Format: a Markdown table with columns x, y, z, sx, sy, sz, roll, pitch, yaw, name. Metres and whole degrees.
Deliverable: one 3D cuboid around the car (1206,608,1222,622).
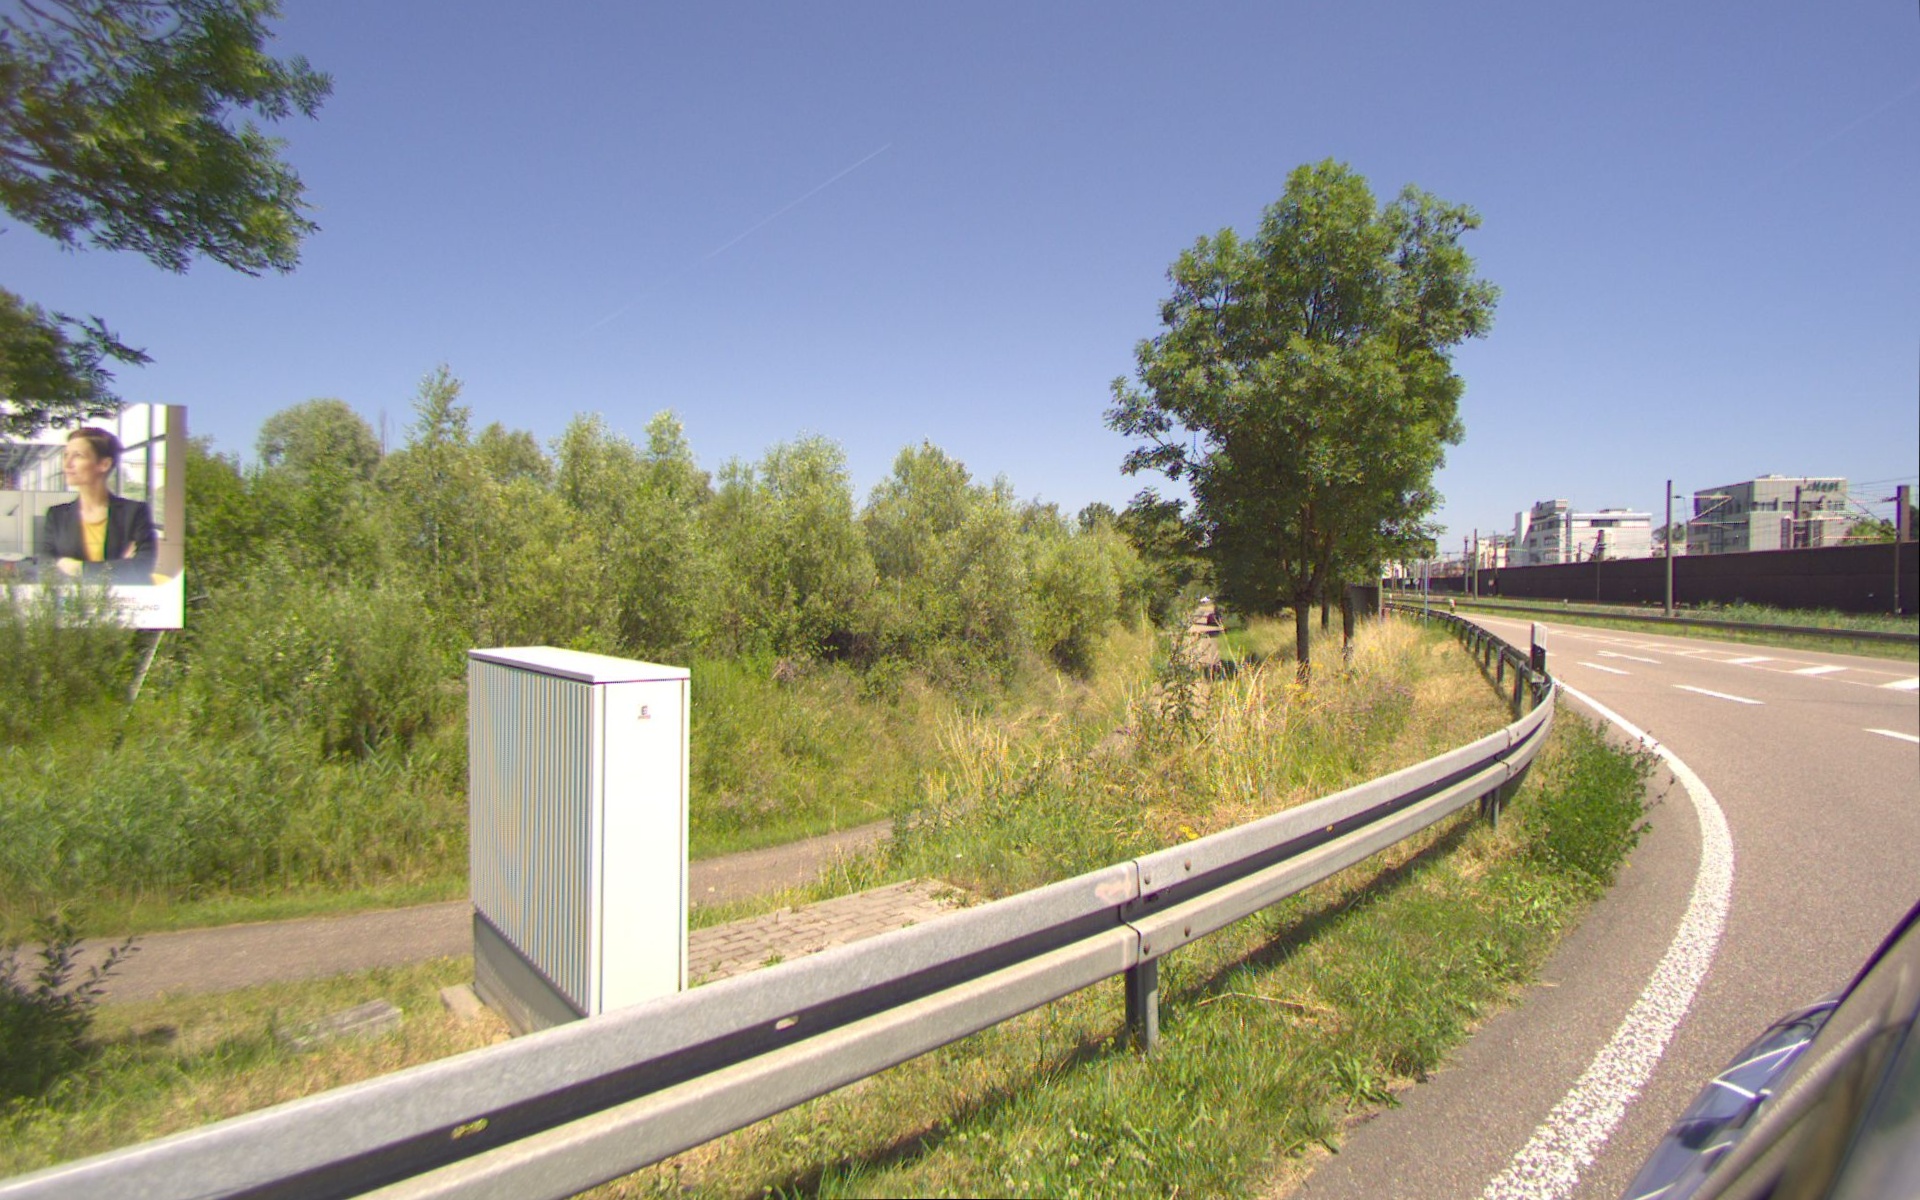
| x | y | z | sx | sy | sz | roll | pitch | yaw | name |
| --- | --- | --- | --- | --- | --- | --- | --- | --- | --- |
| 31.684 | 1.885 | 126.204 | 1.971 | 1.705 | 3.980 | 0 | 0 | 15 | car |
